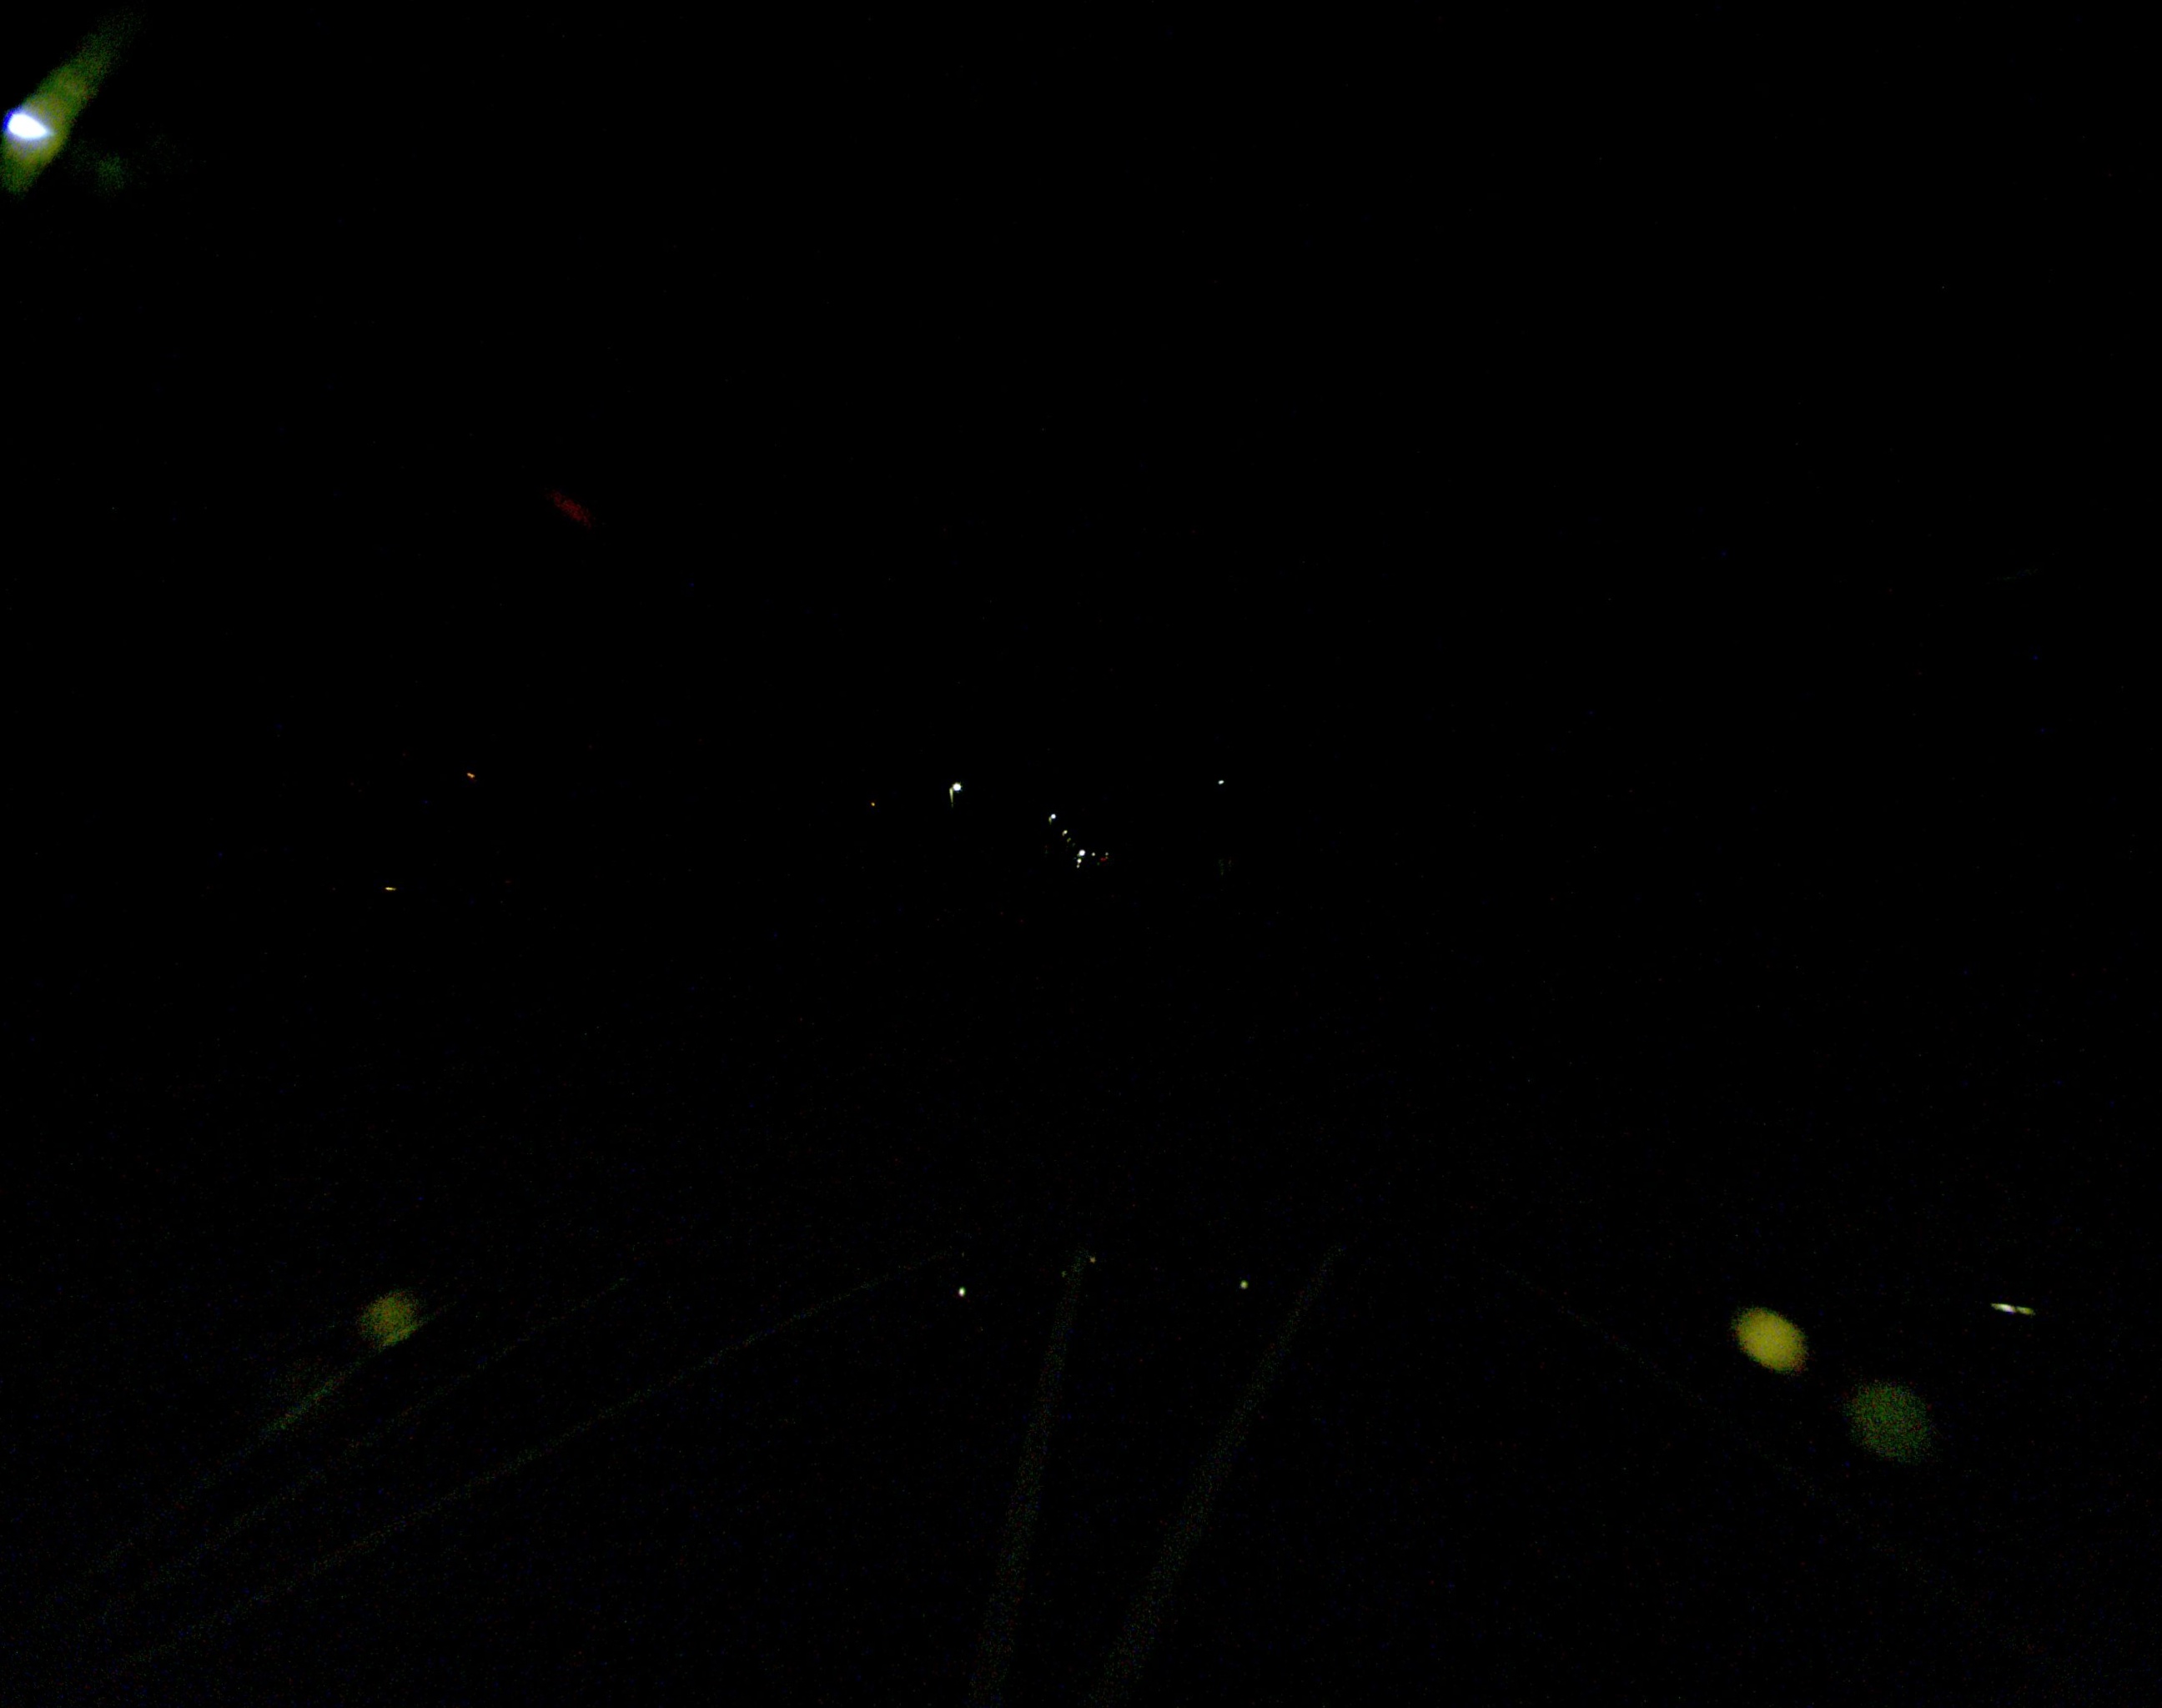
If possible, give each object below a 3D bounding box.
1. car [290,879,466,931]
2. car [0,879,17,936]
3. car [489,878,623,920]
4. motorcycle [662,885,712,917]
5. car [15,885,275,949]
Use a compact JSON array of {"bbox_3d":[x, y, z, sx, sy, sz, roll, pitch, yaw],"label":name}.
[{"bbox_3d":[-23.671,1.673,25.767,4.006,1.589,1.756,0,0,-21],"label":"car"},{"bbox_3d":[-33.203,1.551,20.882,4.168,1.663,1.928,0,0,-28],"label":"car"},{"bbox_3d":[-18.833,1.585,27.420,3.551,1.362,1.757,0,0,-14],"label":"car"},{"bbox_3d":[-14.426,1.722,27.857,1.573,1.127,0.578,0,0,-18],"label":"motorcycle"},{"bbox_3d":[-28.542,1.863,23.440,4.660,1.663,1.928,0,0,-28],"label":"car"}]
